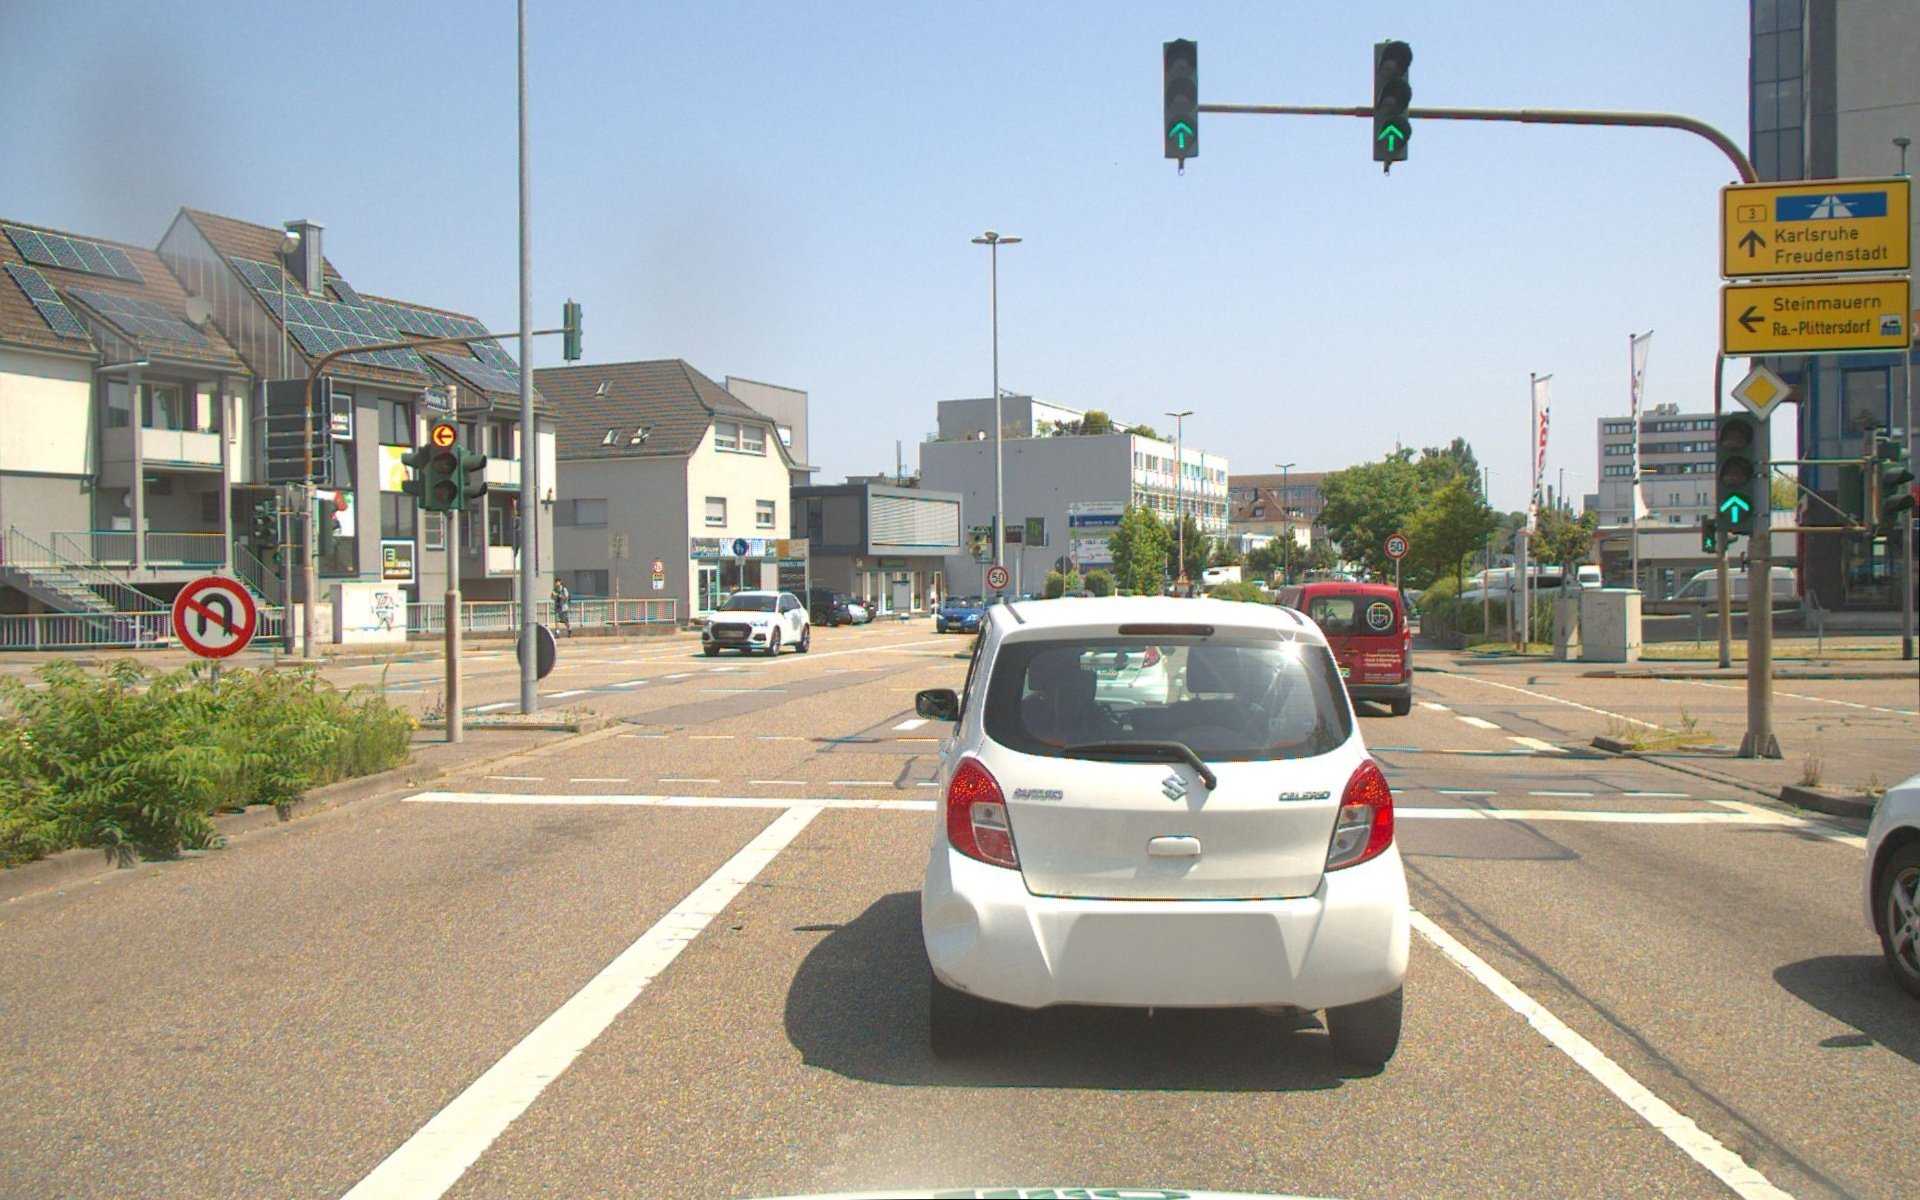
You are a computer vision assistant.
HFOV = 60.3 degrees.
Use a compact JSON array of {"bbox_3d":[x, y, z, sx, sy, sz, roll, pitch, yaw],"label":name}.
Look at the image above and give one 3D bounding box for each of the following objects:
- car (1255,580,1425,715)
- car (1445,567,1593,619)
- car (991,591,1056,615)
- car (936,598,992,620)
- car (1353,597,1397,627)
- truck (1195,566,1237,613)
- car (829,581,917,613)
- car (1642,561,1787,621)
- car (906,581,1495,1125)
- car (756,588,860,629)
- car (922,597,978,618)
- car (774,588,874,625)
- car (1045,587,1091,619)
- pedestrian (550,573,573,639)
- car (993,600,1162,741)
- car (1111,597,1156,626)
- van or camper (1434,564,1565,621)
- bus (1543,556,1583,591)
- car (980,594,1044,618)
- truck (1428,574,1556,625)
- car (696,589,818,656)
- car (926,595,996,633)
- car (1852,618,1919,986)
[{"bbox_3d":[5.376,0.616,23.856,1.757,1.759,3.975,1,0,4],"label":"car"},{"bbox_3d":[20.131,-0.245,59.690,4.631,1.743,1.998,1,-1,-4],"label":"car"},{"bbox_3d":[4.193,0.197,109.695,3.917,1.395,1.668,-2,1,24],"label":"car"},{"bbox_3d":[0.348,0.720,130.395,3.892,1.493,2.074,-3,0,20],"label":"car"},{"bbox_3d":[21.126,0.570,84.118,1.760,1.430,4.321,1,1,20],"label":"car"},{"bbox_3d":[19.682,-0.762,126.747,2.217,3.477,7.043,1,0,16],"label":"truck"},{"bbox_3d":[-4.410,-0.131,83.906,3.971,1.548,2.001,-1,0,19],"label":"car"},{"bbox_3d":[33.613,-0.414,73.841,5.768,2.573,2.118,1,-1,25],"label":"car"},{"bbox_3d":[0.724,0.739,6.398,1.677,1.537,3.247,1,0,1],"label":"car"},{"bbox_3d":[-7.182,0.375,78.191,4.512,1.655,1.854,3,1,21],"label":"car"},{"bbox_3d":[-0.755,0.573,127.218,3.887,1.493,1.965,-1,1,17],"label":"car"},{"bbox_3d":[-6.643,0.298,81.159,4.508,1.522,1.754,4,2,13],"label":"car"},{"bbox_3d":[6.070,0.161,92.348,1.951,1.685,4.598,-1,0,11],"label":"car"},{"bbox_3d":[-12.541,0.185,52.079,0.492,2.048,0.743,1,1,5],"label":"pedestrian"},{"bbox_3d":[1.484,0.750,19.765,1.791,1.475,4.003,1,0,6],"label":"car"},{"bbox_3d":[9.015,0.579,85.495,1.823,1.456,4.748,1,0,12],"label":"car"},{"bbox_3d":[29.470,-0.416,90.300,6.656,2.948,2.276,-1,1,21],"label":"van or camper"},{"bbox_3d":[60.997,-2.732,167.204,2.749,3.132,12.279,0,2,25],"label":"bus"},{"bbox_3d":[3.359,0.392,107.065,3.903,1.485,1.576,-1,-1,17],"label":"car"},{"bbox_3d":[27.709,-0.026,86.110,6.118,2.377,2.368,-2,1,23],"label":"truck"},{"bbox_3d":[-5.131,0.546,42.400,1.778,1.597,4.560,1,0,11],"label":"car"},{"bbox_3d":[0.094,0.530,64.434,1.823,1.390,4.350,1,0,12],"label":"car"},{"bbox_3d":[4.517,0.790,5.020,1.633,1.424,3.793,0,0,1],"label":"car"}]
